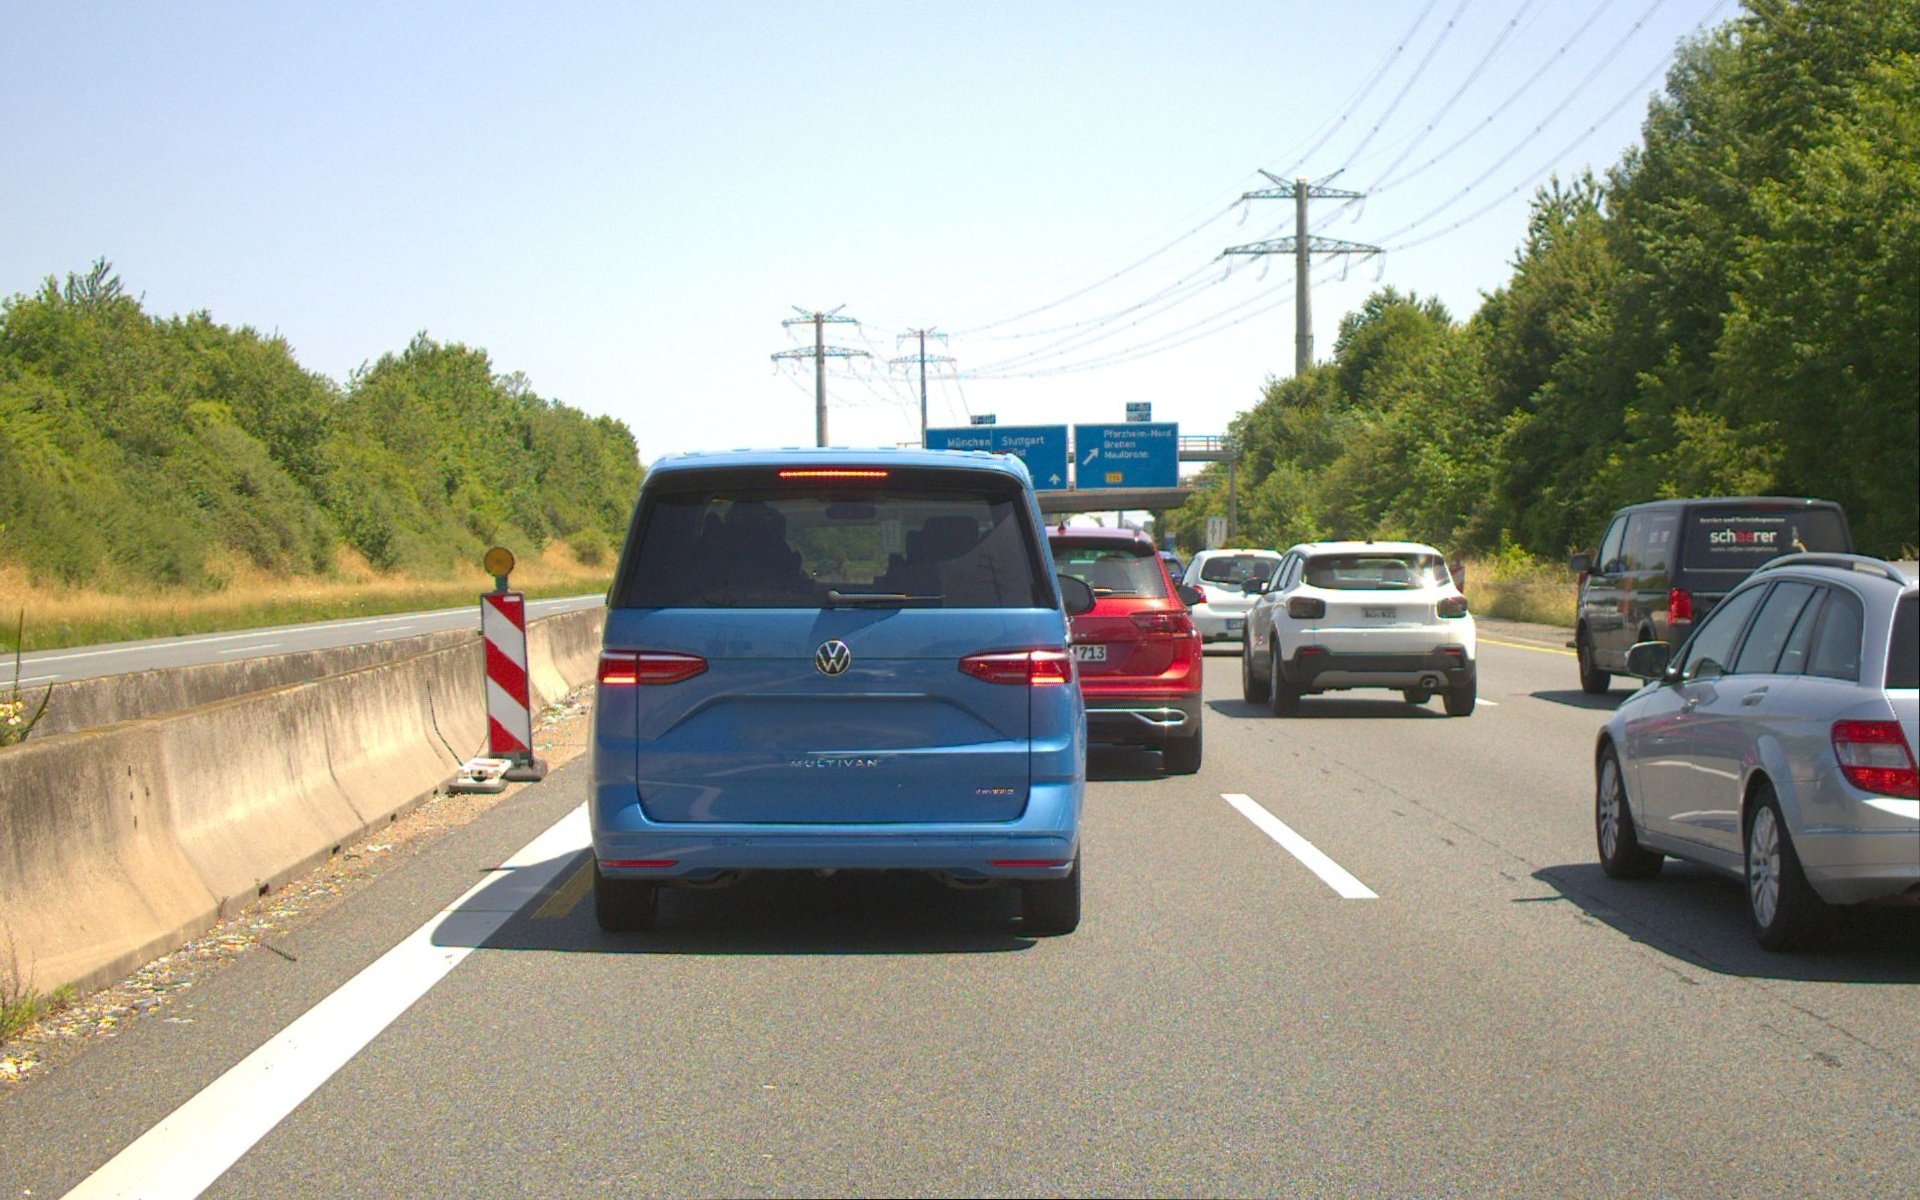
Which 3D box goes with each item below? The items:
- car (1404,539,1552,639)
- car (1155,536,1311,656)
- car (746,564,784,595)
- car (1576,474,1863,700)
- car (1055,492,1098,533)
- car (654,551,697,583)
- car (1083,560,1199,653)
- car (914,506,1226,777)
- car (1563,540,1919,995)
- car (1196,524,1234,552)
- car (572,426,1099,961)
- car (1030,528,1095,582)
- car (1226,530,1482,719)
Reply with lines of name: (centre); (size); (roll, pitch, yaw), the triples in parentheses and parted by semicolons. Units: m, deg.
car: (8.682, -0.204, 57.926); (1.797, 1.588, 4.227); (1, 1, -1)
car: (3.793, -0.084, 48.374); (1.797, 1.588, 4.227); (1, 1, -1)
car: (-11.216, -1.191, 198.016); (1.993, 1.656, 4.230); (-1, 1, -1)
car: (7.207, -0.140, 33.020); (1.797, 2.007, 4.227); (1, 1, 0)
car: (7.056, -5.289, 208.700); (2.377, 2.420, 4.227); (1, 1, -1)
car: (-16.202, -1.898, 196.116); (1.993, 1.644, 4.630); (-3, 1, 0)
car: (3.238, 0.086, 62.207); (1.797, 1.588, 4.227); (1, 1, -1)
car: (0.660, 0.236, 23.683); (1.874, 1.665, 4.360); (1, 1, -1)
car: (3.723, 0.542, 13.649); (1.770, 1.512, 4.360); (1, 1, -1)
car: (15.728, -3.820, 212.028); (1.874, 1.665, 4.360); (1, 1, -1)
car: (-0.501, 0.314, 14.587); (1.874, 1.905, 4.360); (1, 1, -1)
car: (3.093, -1.357, 104.640); (1.797, 1.588, 4.227); (1, 1, -1)
car: (3.531, 0.181, 31.512); (1.797, 1.588, 4.227); (1, 1, -1)
